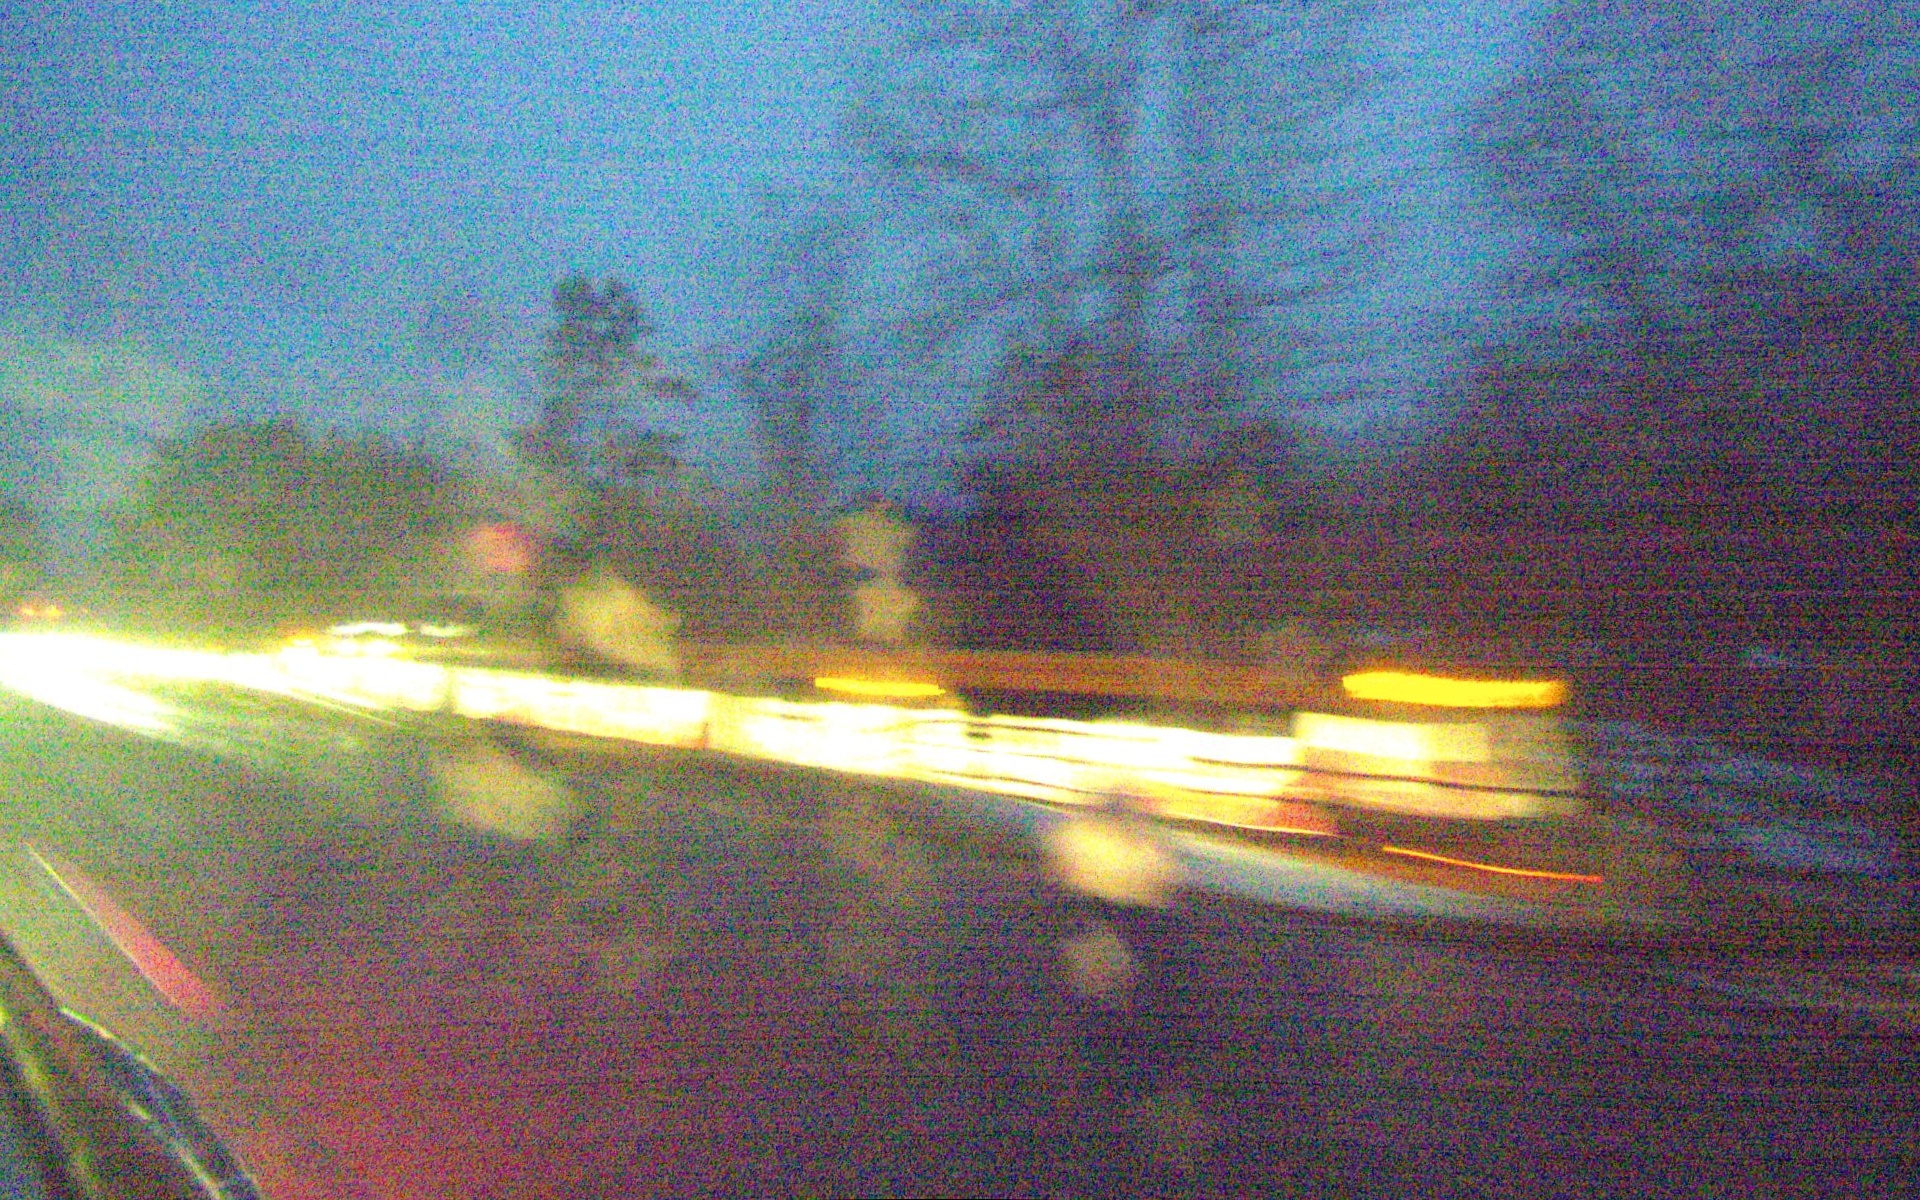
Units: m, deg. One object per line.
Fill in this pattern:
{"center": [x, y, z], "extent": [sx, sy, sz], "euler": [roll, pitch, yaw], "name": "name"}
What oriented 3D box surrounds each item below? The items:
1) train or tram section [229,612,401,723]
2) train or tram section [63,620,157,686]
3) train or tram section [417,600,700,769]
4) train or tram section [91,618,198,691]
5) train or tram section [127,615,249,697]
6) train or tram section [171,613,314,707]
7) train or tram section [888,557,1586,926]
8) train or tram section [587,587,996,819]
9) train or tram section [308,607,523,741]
{"center": [-23.017, 2.243, 35.914], "extent": [8.547, 3.486, 2.814], "euler": [-2, -2, 41], "name": "train or tram section"}
{"center": [-49.000, 2.955, 58.231], "extent": [8.547, 3.486, 2.814], "euler": [-2, -2, 41], "name": "train or tram section"}
{"center": [-10.071, 1.847, 24.763], "extent": [8.547, 3.486, 2.814], "euler": [-2, -2, 41], "name": "train or tram section"}
{"center": [-42.528, 2.750, 52.671], "extent": [8.547, 3.486, 2.814], "euler": [-2, -2, 41], "name": "train or tram section"}
{"center": [-36.025, 2.524, 47.090], "extent": [8.547, 3.486, 2.814], "euler": [-2, -2, 41], "name": "train or tram section"}
{"center": [-29.527, 2.345, 41.484], "extent": [8.547, 3.486, 2.814], "euler": [-2, -2, 41], "name": "train or tram section"}
{"center": [3.081, 1.436, 13.452], "extent": [8.547, 3.486, 2.814], "euler": [-2, -2, 41], "name": "train or tram section"}
{"center": [-3.542, 1.654, 19.132], "extent": [8.547, 3.486, 2.814], "euler": [-2, -2, 41], "name": "train or tram section"}
{"center": [-16.509, 2.042, 30.347], "extent": [8.547, 3.486, 2.814], "euler": [-2, -2, 41], "name": "train or tram section"}
